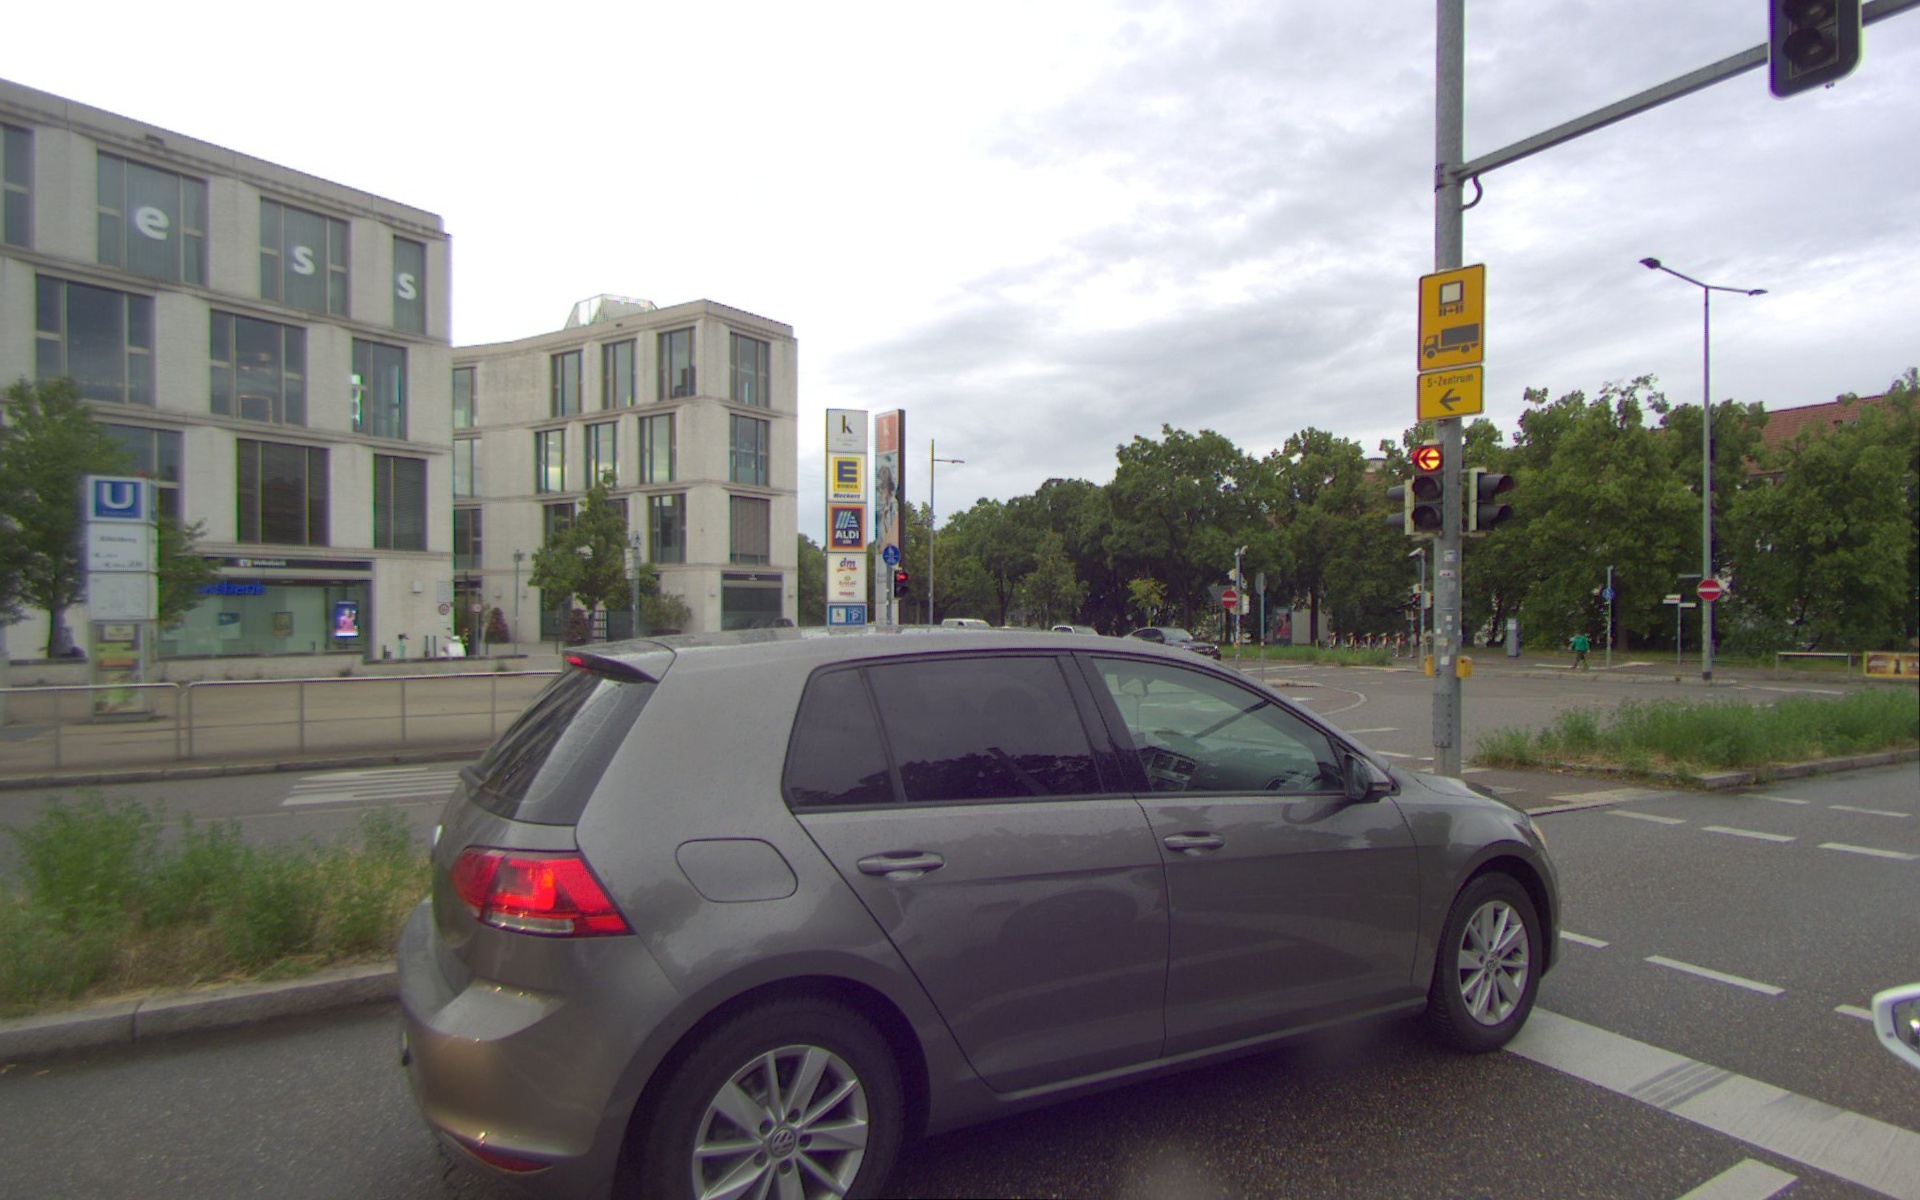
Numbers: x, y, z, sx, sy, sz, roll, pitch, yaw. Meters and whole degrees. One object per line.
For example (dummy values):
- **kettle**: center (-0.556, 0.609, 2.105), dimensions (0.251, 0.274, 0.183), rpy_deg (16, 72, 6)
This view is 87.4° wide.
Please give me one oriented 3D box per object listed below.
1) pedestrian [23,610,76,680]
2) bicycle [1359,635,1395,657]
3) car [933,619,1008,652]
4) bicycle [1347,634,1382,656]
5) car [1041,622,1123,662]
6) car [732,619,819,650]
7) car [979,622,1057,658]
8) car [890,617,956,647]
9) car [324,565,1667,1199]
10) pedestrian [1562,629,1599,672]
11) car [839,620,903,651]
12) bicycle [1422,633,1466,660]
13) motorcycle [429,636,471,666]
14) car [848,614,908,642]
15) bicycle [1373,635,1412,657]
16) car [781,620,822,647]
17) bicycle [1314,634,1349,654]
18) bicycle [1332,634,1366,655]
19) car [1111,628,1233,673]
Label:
- **pedestrian**: center (-21.862, 1.074, 24.132), dimensions (0.908, 1.626, 0.755), rpy_deg (2, -1, -42)
- **bicycle**: center (21.663, 2.394, 52.168), dimensions (1.959, 1.085, 0.649), rpy_deg (2, 0, -30)
- **car**: center (0.523, 1.942, 55.400), dimensions (1.976, 1.615, 4.855), rpy_deg (2, 0, -29)
- **bicycle**: center (21.362, 2.377, 53.028), dimensions (1.959, 1.085, 0.649), rpy_deg (2, 0, -30)
- **car**: center (5.547, 1.907, 46.021), dimensions (1.976, 1.615, 3.536), rpy_deg (2, 0, -30)
- **car**: center (-9.196, 1.714, 50.313), dimensions (1.968, 1.483, 3.985), rpy_deg (0, -2, 37)
- **car**: center (2.901, 1.992, 50.963), dimensions (1.976, 1.615, 4.185), rpy_deg (2, 0, -29)
- **car**: center (-2.266, 1.883, 60.388), dimensions (1.976, 1.615, 4.855), rpy_deg (2, 0, -29)
- **car**: center (0.390, 0.756, 3.520), dimensions (4.325, 1.501, 1.807), rpy_deg (2, -1, -30)
- **pedestrian**: center (25.784, 2.097, 41.730), dimensions (0.933, 1.750, 0.920), rpy_deg (2, 0, -23)
- **car**: center (-5.338, 2.108, 59.693), dimensions (1.976, 1.615, 4.855), rpy_deg (2, 0, -29)
- **bicycle**: center (23.750, 2.278, 49.256), dimensions (1.959, 1.266, 0.986), rpy_deg (2, 0, -30)
- **motorcycle**: center (-14.173, 1.408, 27.912), dimensions (1.081, 0.750, 0.522), rpy_deg (2, 0, 29)
- **car**: center (-5.467, 1.812, 66.108), dimensions (1.977, 1.615, 4.852), rpy_deg (2, 0, -31)
- **bicycle**: center (22.234, 2.360, 51.644), dimensions (1.959, 1.085, 0.798), rpy_deg (2, 0, -30)
- **car**: center (-12.759, 2.660, 80.684), dimensions (1.976, 2.040, 3.969), rpy_deg (1, -1, -29)
- **bicycle**: center (20.258, 2.401, 54.758), dimensions (1.959, 1.085, 0.649), rpy_deg (2, 0, -30)
- **bicycle**: center (20.929, 2.388, 54.029), dimensions (1.959, 1.085, 0.649), rpy_deg (2, 0, -30)
- **car**: center (8.385, 1.965, 40.235), dimensions (1.976, 1.520, 5.001), rpy_deg (2, 0, -29)
